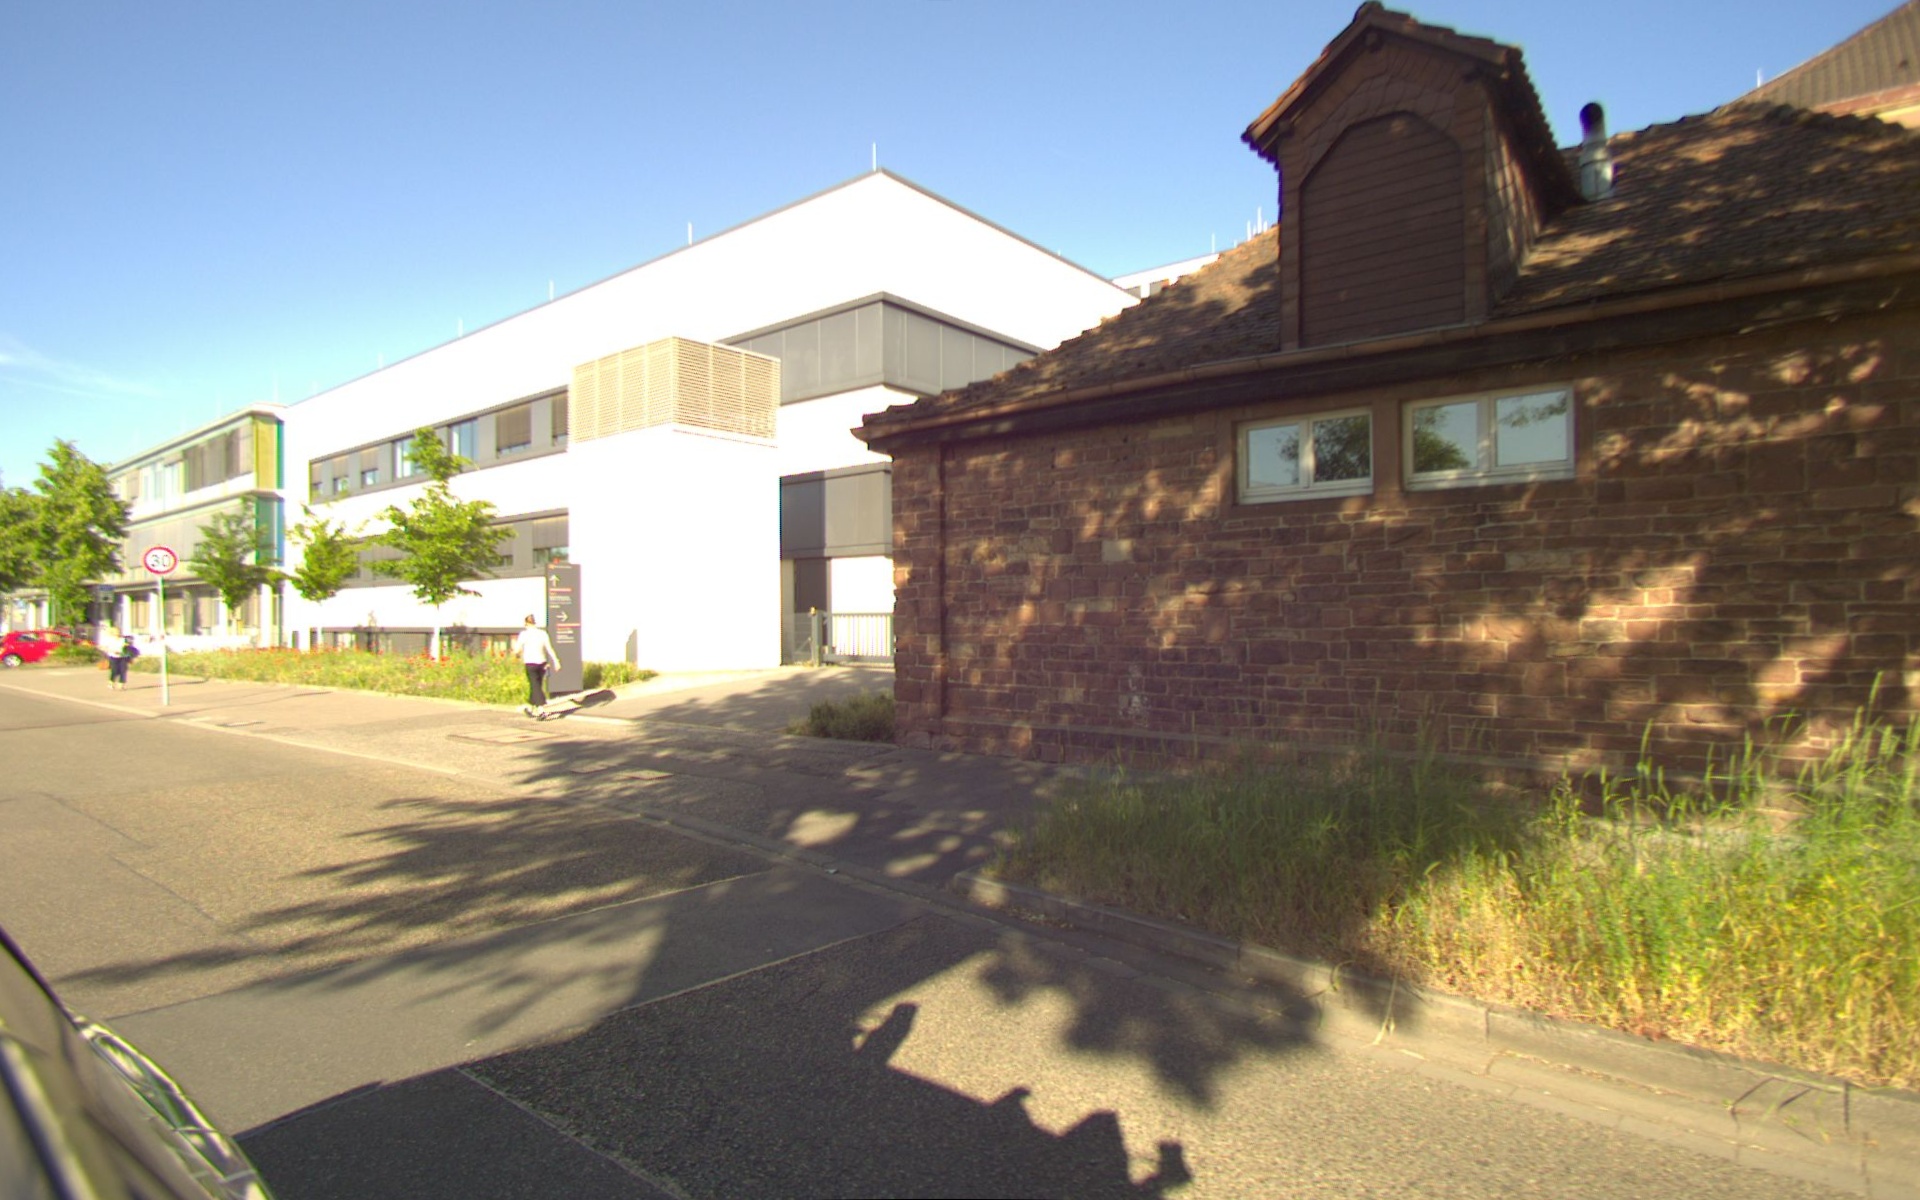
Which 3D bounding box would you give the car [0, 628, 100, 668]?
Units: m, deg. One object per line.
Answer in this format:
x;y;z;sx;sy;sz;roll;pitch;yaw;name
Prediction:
-37.842;1.972;41.650;3.593;1.480;1.615;-2;-1;-44;car

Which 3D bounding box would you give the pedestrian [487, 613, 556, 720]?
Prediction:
-6.706;1.000;15.458;1.094;1.574;0.516;-2;-1;39;pedestrian

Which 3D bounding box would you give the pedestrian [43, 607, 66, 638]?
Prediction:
-48.078;1.185;53.716;0.779;1.560;0.765;-1;1;40;pedestrian

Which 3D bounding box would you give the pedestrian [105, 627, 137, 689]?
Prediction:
-21.213;1.456;25.594;0.607;1.535;0.532;-2;-1;41;pedestrian

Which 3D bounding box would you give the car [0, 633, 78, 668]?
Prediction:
-40.094;2.140;42.476;1.699;1.378;4.463;-2;-1;42;car

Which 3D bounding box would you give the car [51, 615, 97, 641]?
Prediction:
-68.210;2.183;77.865;4.706;1.905;1.900;-2;-2;39;car

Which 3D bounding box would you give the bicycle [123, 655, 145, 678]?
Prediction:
-41.909;3.348;51.343;1.860;1.120;0.529;-2;-2;41;bicycle
